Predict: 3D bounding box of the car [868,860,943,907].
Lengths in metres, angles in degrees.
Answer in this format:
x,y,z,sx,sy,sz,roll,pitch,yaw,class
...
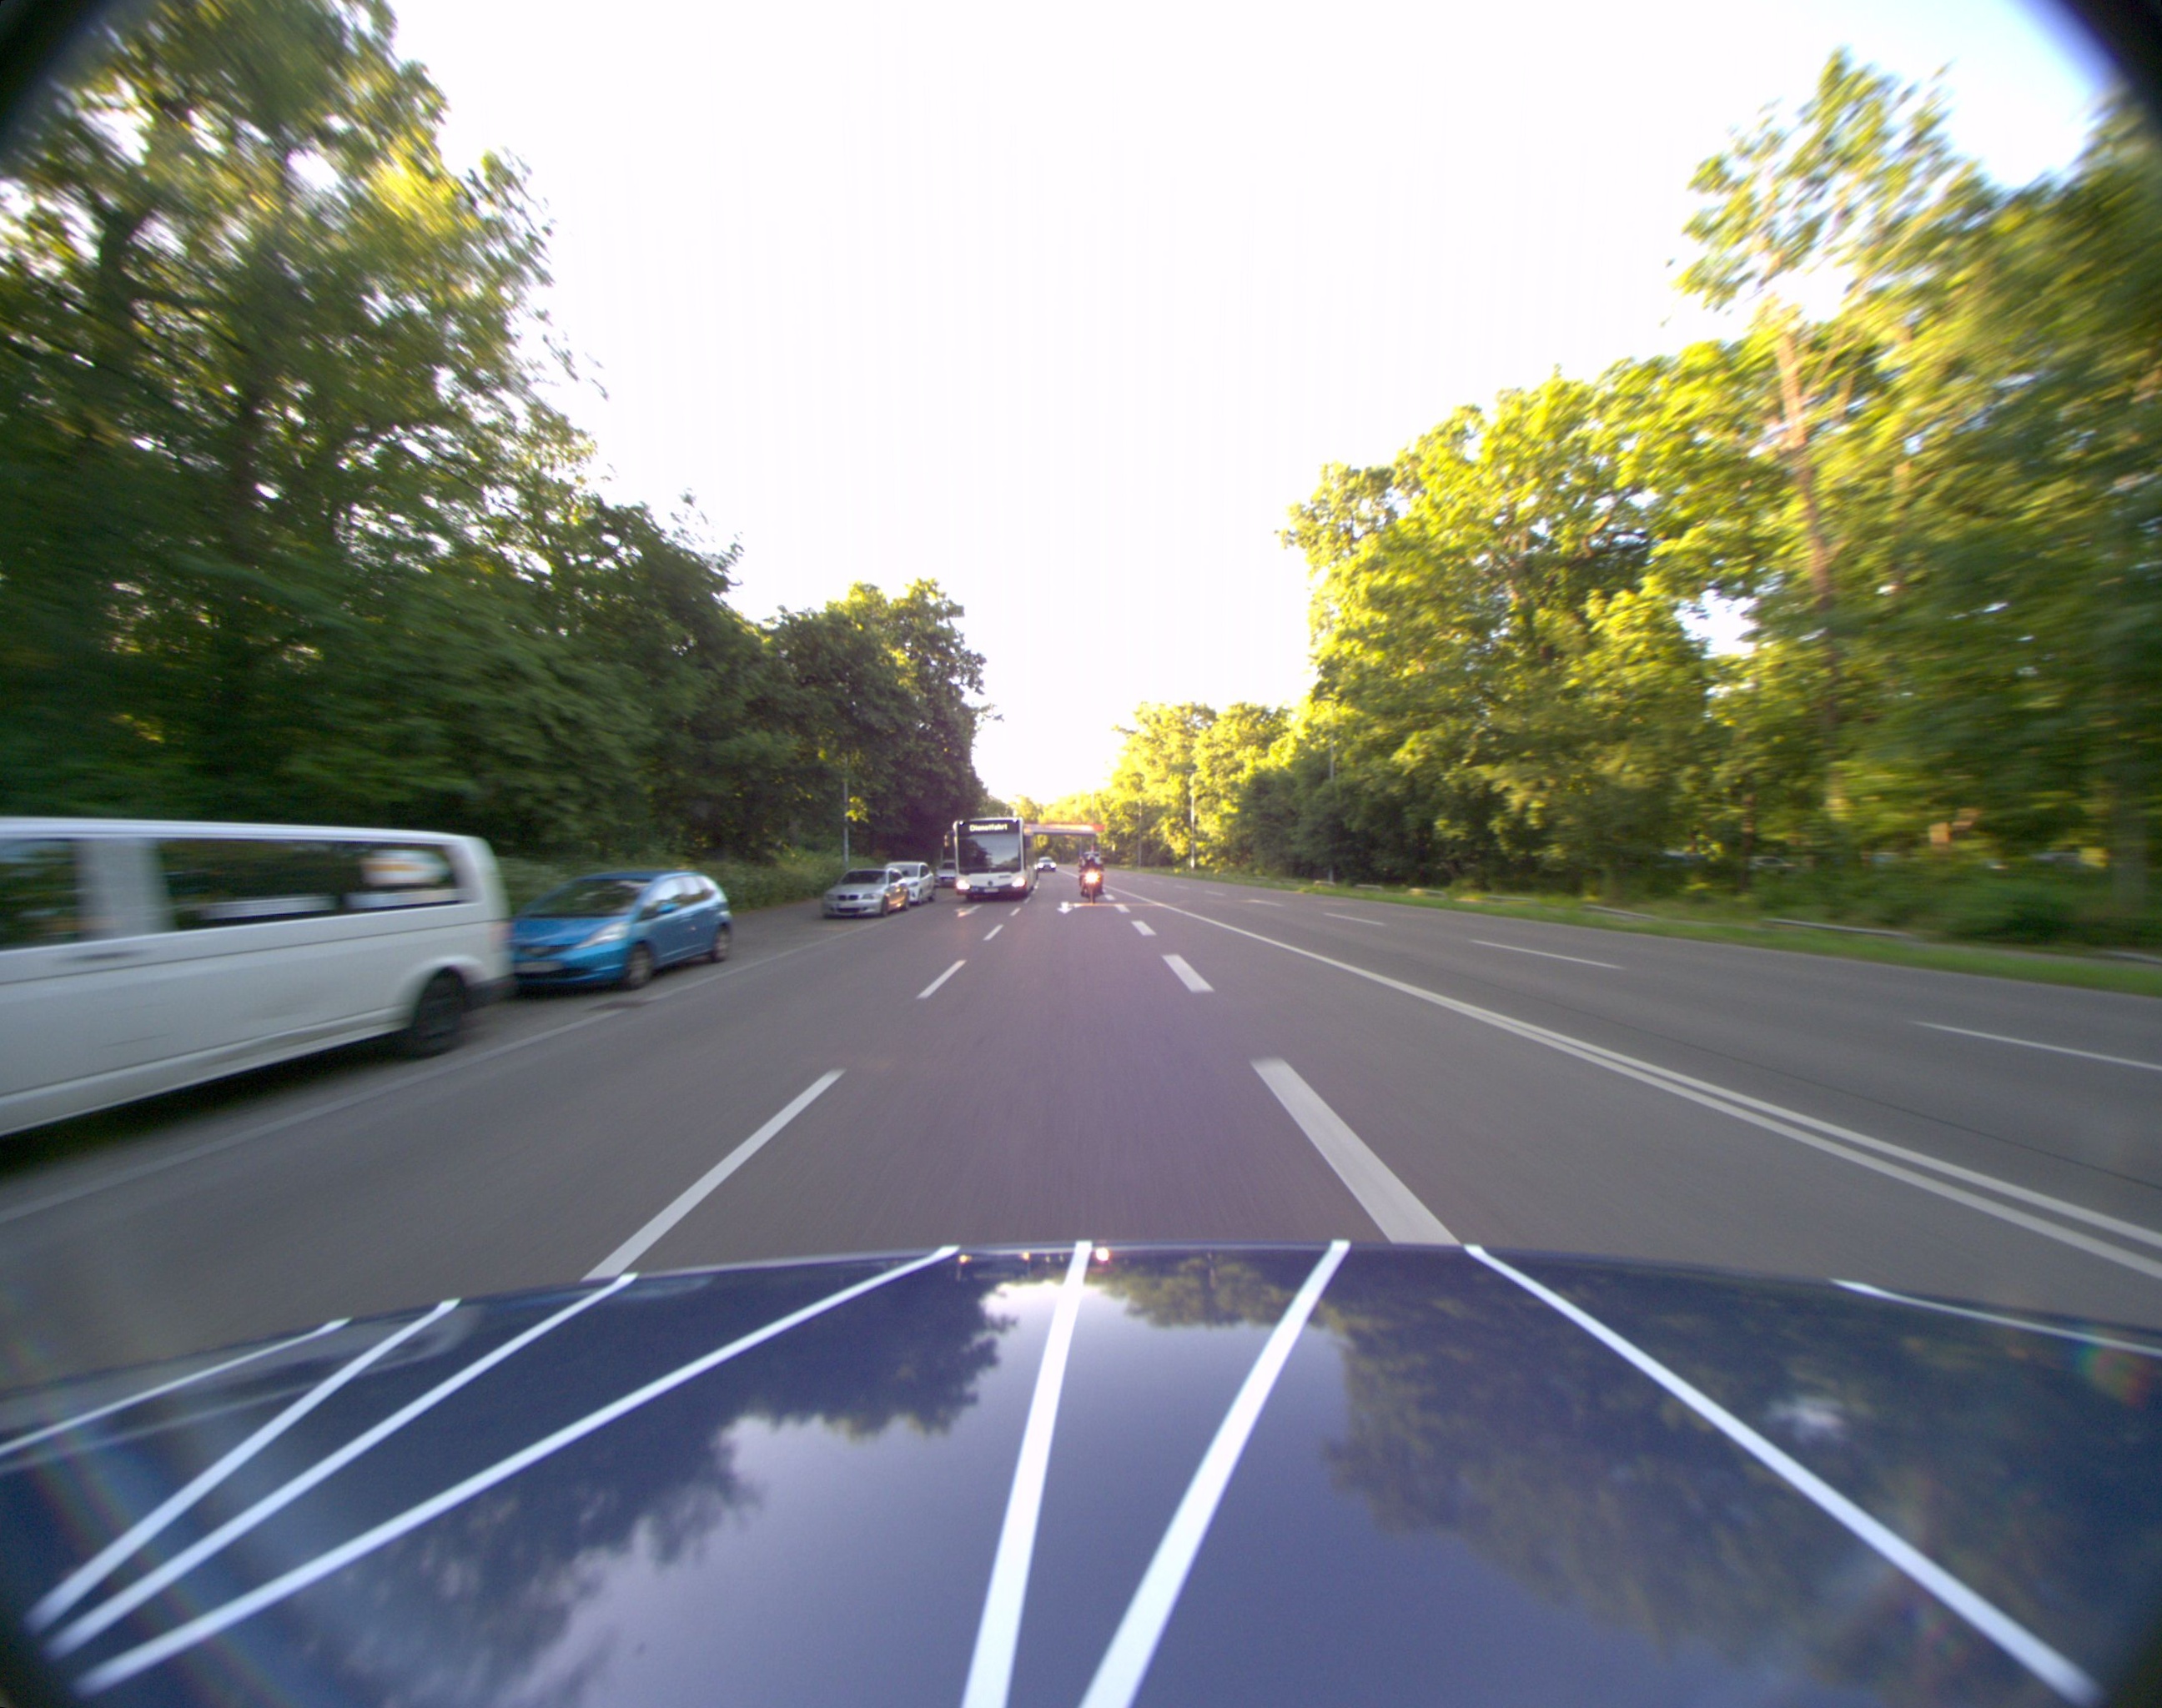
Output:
x,y,z,sx,sy,sz,roll,pitch,yaw,class
-6.229,1.008,27.407,1.732,1.513,4.089,-1,0,0,car

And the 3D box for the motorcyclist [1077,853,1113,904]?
x,y,z,sx,sy,sz,roll,pitch,yaw,class
0.430,0.741,23.628,0.953,1.523,1.073,-3,0,-4,motorcyclist

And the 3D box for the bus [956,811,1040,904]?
x,y,z,sx,sy,sz,roll,pitch,yaw,class
-3.237,0.117,32.873,2.711,3.203,12.275,-1,0,-2,bus

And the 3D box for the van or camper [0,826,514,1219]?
x,y,z,sx,sy,sz,roll,pitch,yaw,class
-6.339,0.866,4.573,1.837,1.959,5.341,-2,0,-1,van or camper

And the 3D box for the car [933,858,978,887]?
x,y,z,sx,sy,sz,roll,pitch,yaw,class
-6.812,0.979,41.627,1.732,1.433,4.666,1,0,-1,car

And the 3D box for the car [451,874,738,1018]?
x,y,z,sx,sy,sz,roll,pitch,yaw,class
-6.480,1.110,10.703,1.652,1.513,3.865,-1,0,-3,car

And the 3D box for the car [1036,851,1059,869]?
x,y,z,sx,sy,sz,roll,pitch,yaw,class
-3.552,0.615,80.307,2.000,1.761,4.229,-1,0,-7,car

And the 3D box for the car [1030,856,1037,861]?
x,y,z,sx,sy,sz,roll,pitch,yaw,class
-12.432,1.177,197.384,1.686,1.398,3.887,-3,1,-5,car

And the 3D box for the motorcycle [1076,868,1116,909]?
x,y,z,sx,sy,sz,roll,pitch,yaw,class
0.431,1.047,24.118,0.956,1.098,3.338,-3,0,-4,motorcycle

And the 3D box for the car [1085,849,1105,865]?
x,y,z,sx,sy,sz,roll,pitch,yaw,class
1.721,0.363,96.165,1.999,1.981,4.994,-2,1,-5,car

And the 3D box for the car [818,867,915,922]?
x,y,z,sx,sy,sz,roll,pitch,yaw,class
-6.202,1.129,22.434,1.732,1.401,4.089,0,0,0,car
